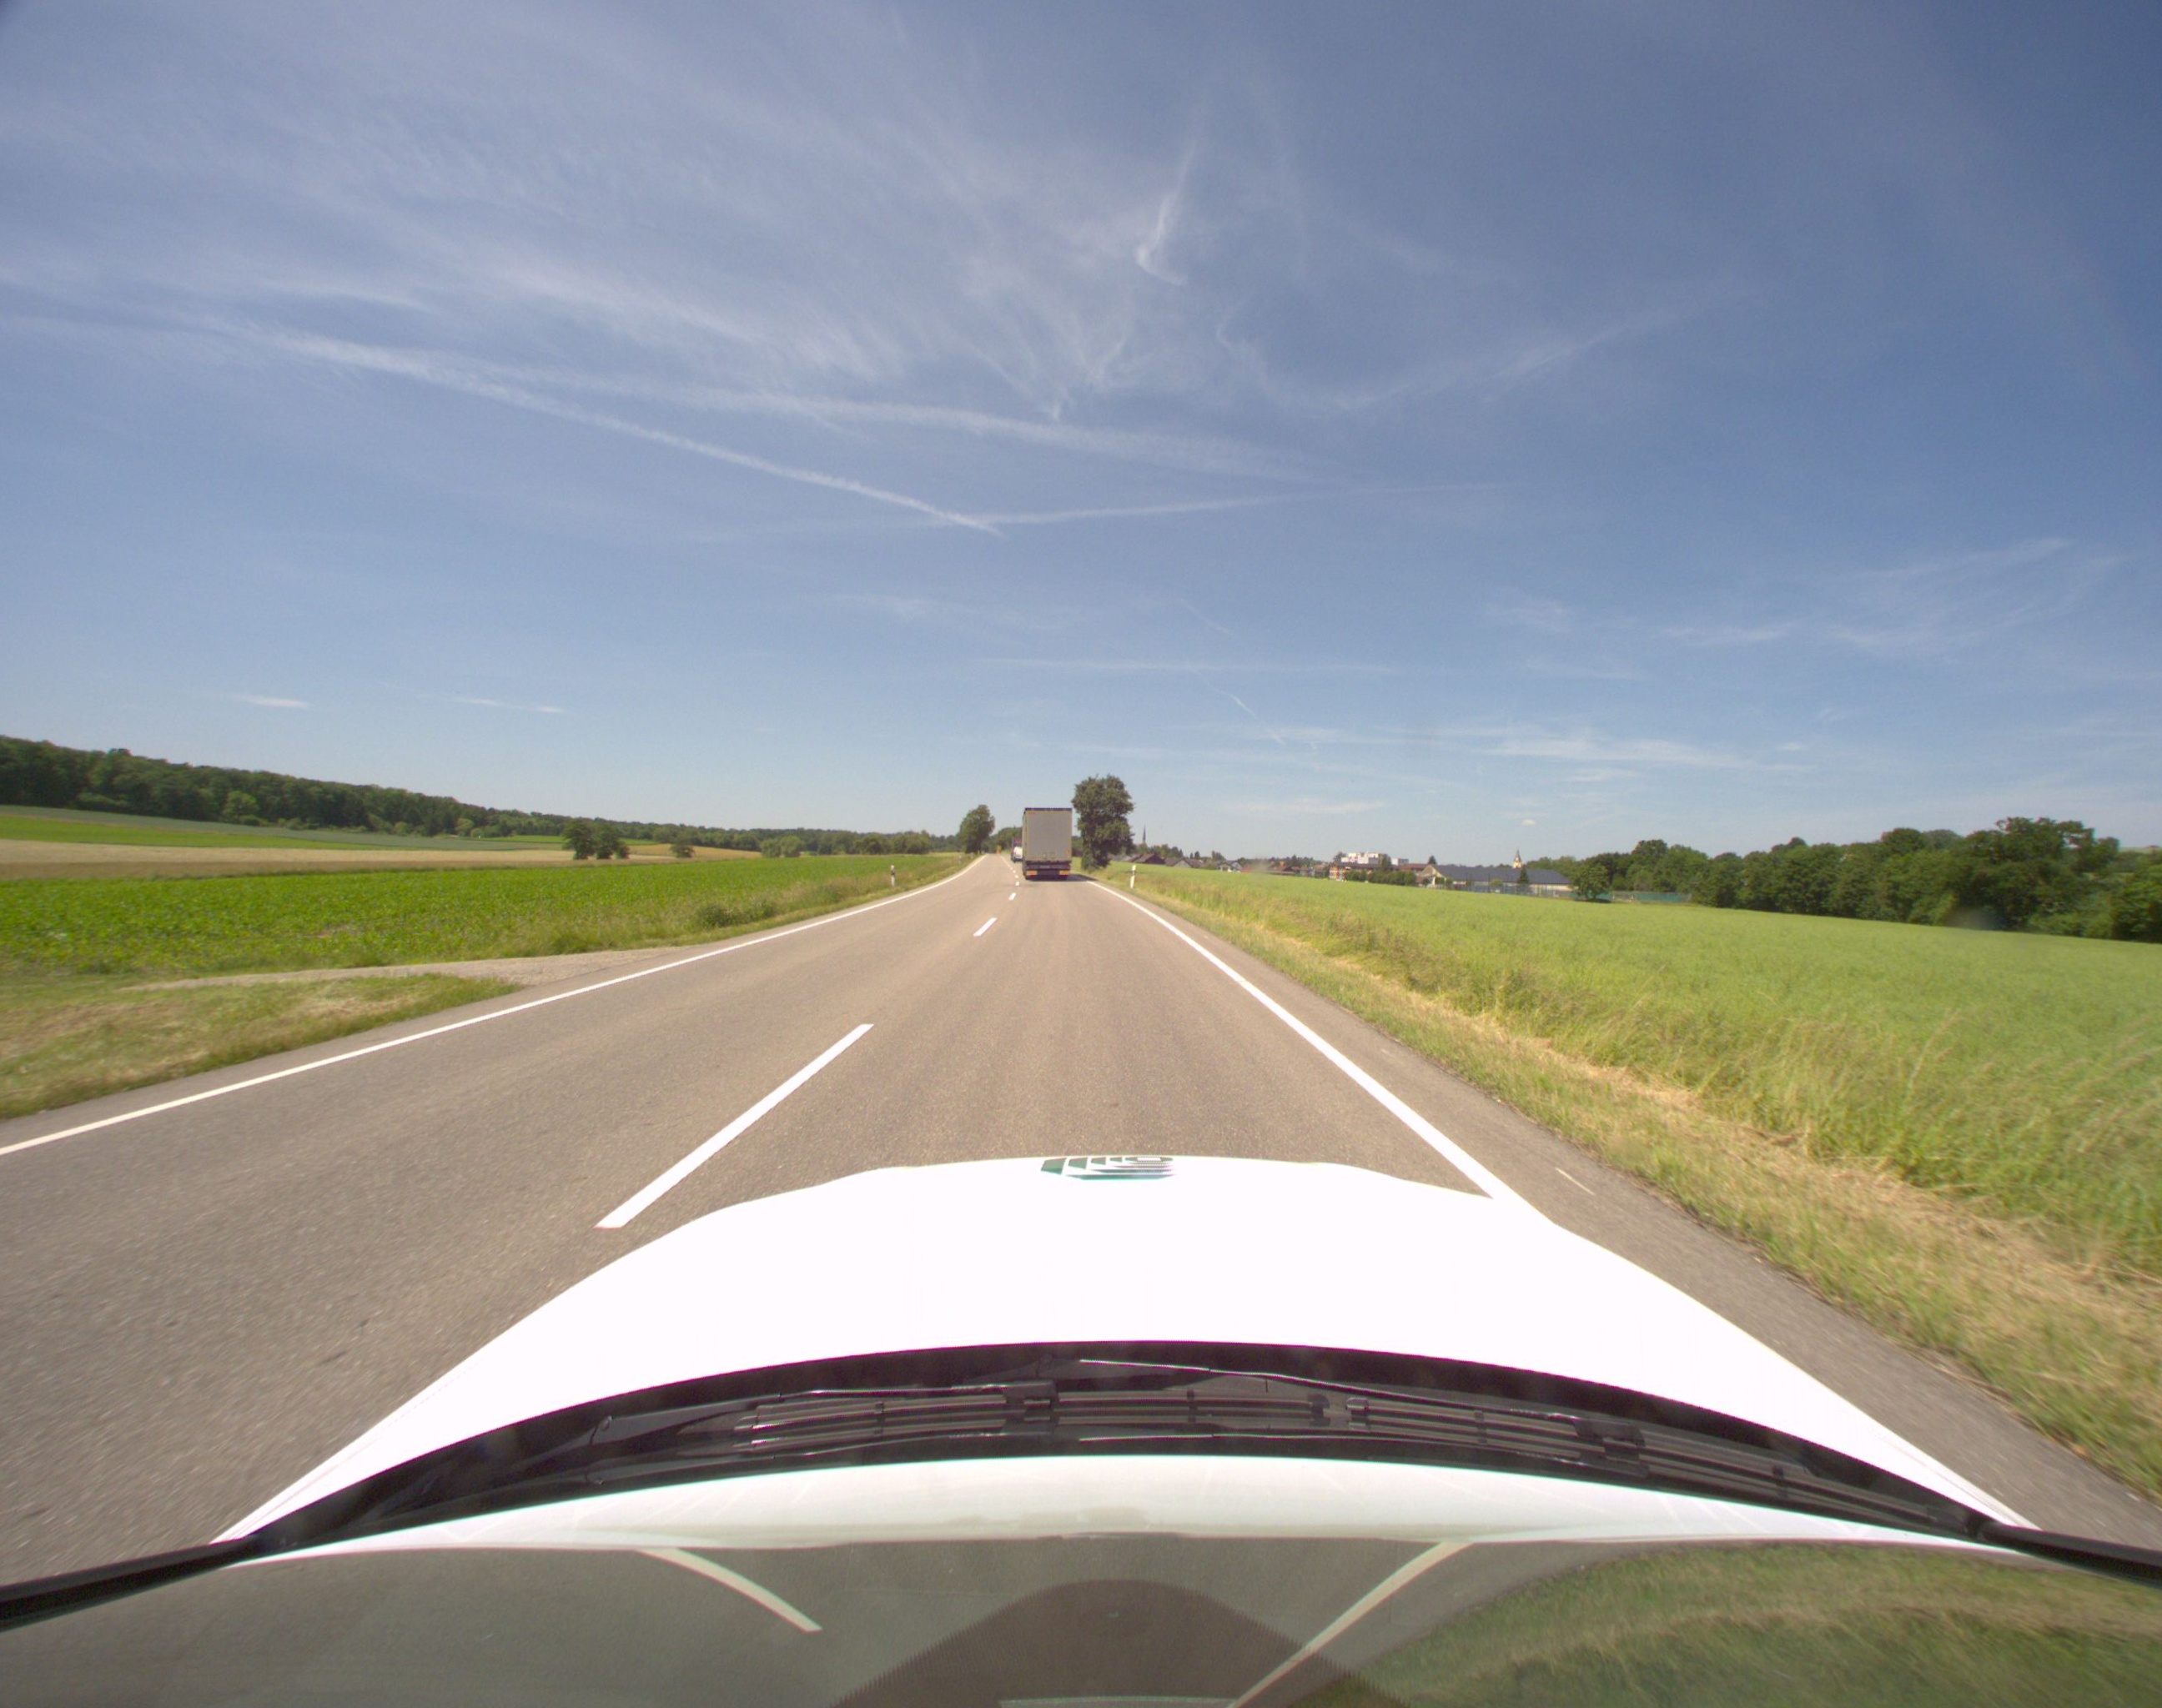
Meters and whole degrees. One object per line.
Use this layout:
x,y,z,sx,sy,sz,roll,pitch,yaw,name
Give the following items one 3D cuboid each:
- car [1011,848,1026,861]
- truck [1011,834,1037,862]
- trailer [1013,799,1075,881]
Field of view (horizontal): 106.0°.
-8.906,0.047,116.084,1.719,1.873,4.001,0,0,1,car
-9.679,-1.002,140.335,3.540,4.392,18.108,1,0,-2,truck
-2.514,-0.793,50.419,2.864,4.400,13.461,0,0,-7,trailer
